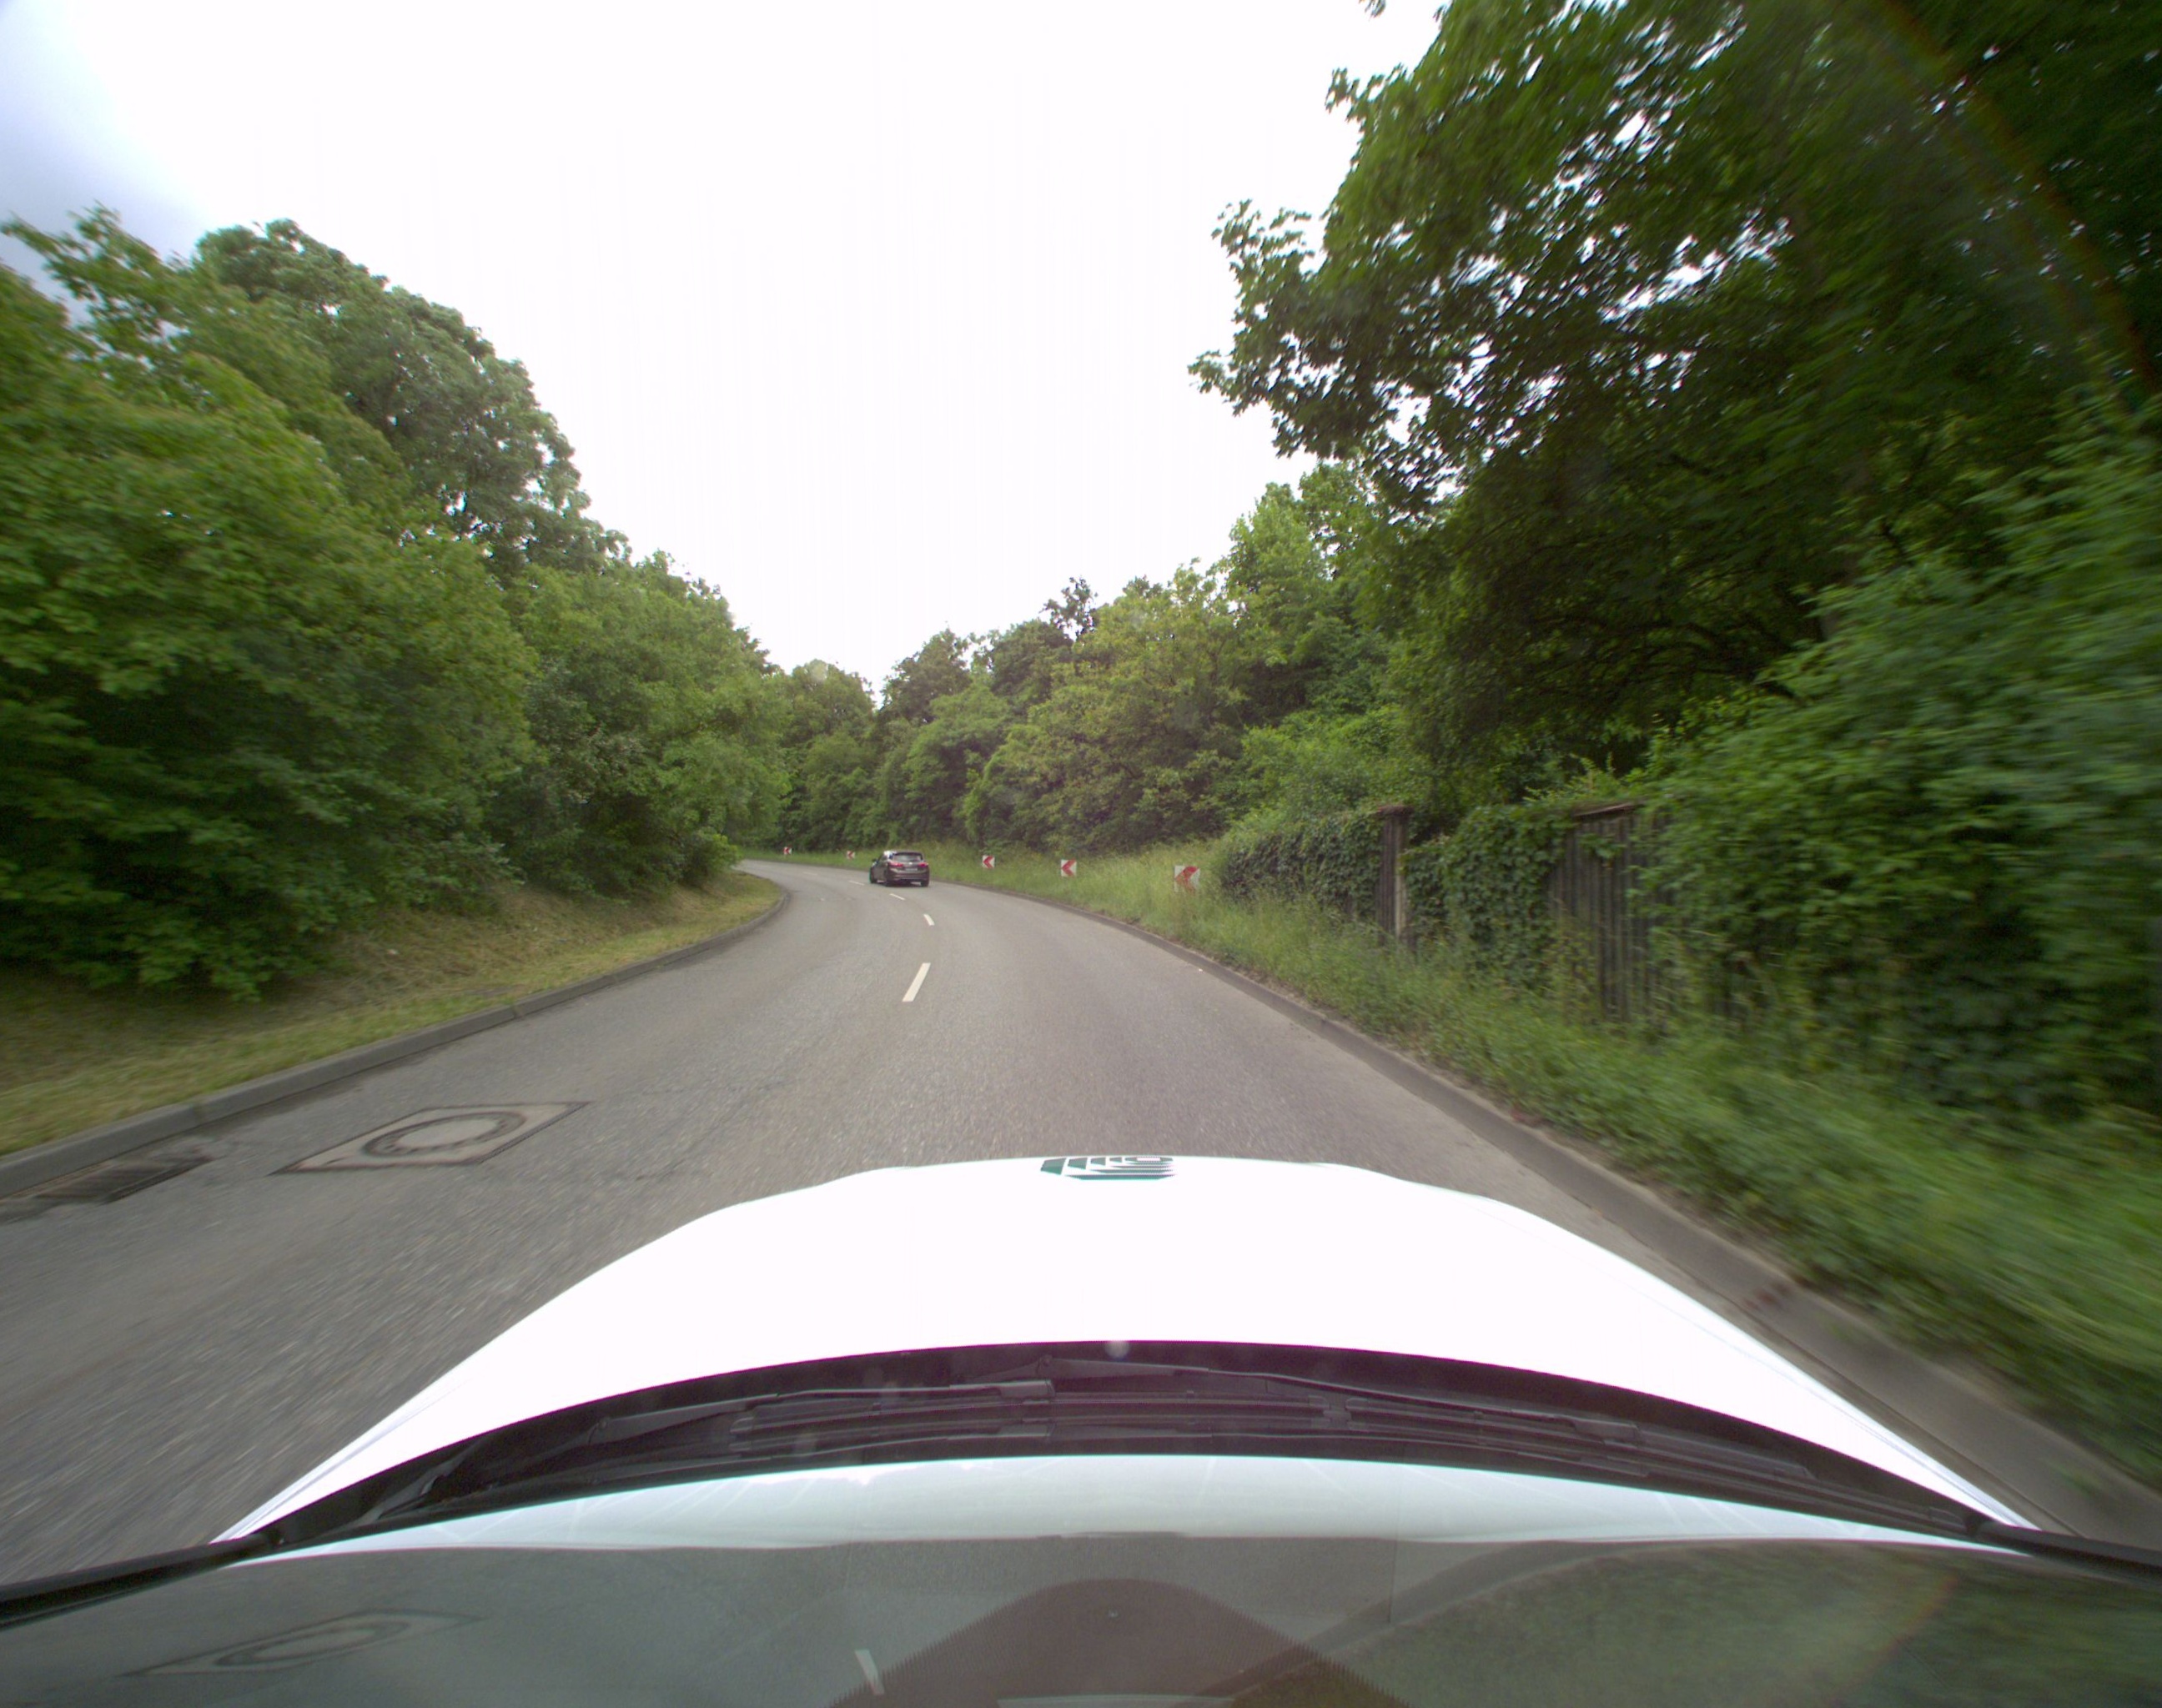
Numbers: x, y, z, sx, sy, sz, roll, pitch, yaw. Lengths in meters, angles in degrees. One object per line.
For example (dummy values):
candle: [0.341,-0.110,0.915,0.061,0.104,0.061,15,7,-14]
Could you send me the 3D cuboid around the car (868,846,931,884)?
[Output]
car: [-7.755,0.396,34.513,1.848,1.483,3.968,0,1,-24]
